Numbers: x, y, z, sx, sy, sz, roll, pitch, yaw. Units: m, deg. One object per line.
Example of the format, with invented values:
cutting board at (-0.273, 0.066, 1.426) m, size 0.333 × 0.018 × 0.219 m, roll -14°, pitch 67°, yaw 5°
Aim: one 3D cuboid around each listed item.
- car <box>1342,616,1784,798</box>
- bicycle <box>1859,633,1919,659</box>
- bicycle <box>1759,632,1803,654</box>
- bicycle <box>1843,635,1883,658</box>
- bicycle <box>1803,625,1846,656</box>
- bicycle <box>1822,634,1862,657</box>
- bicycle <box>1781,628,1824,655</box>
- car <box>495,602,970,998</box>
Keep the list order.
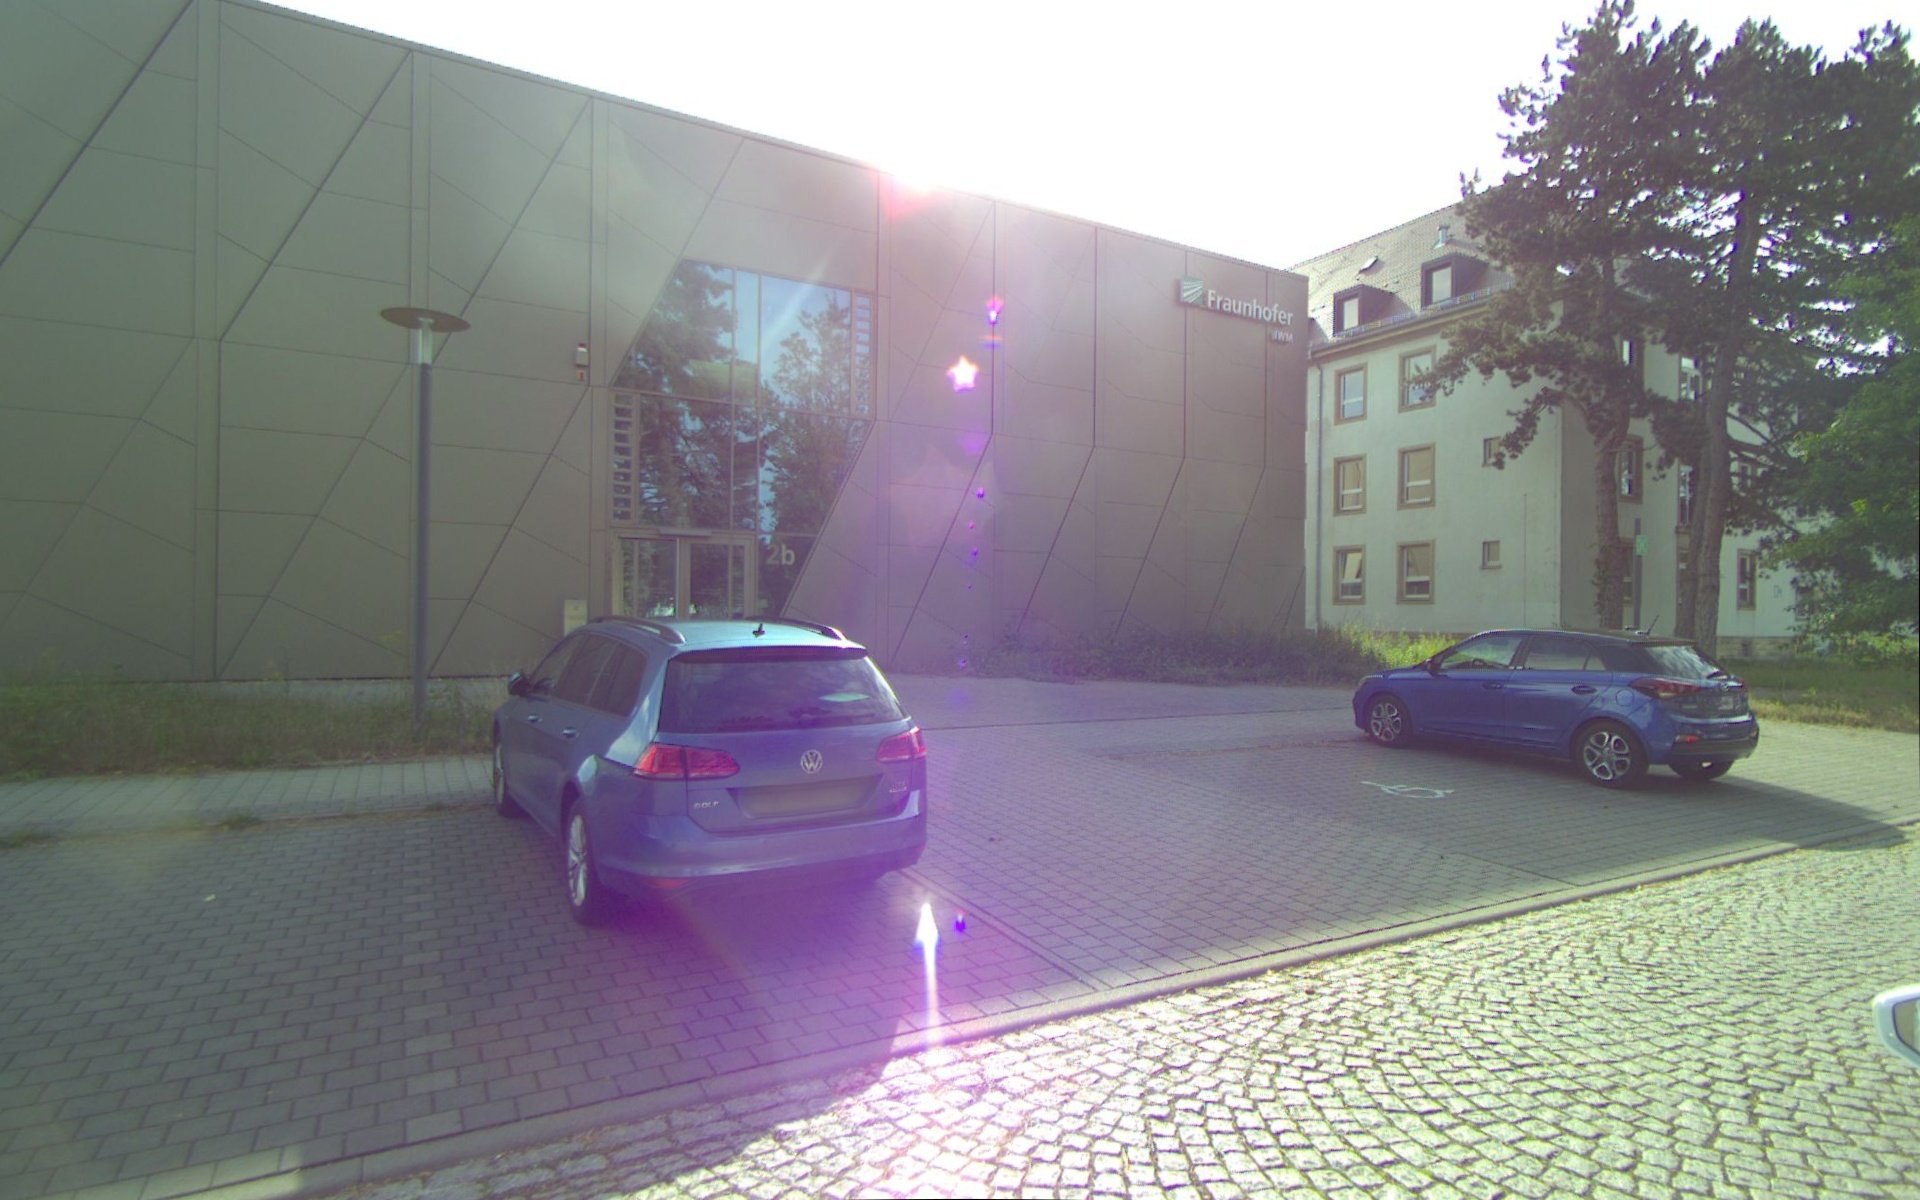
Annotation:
car at (6.333, 0.997, 11.018) m, size 1.698 × 1.483 × 3.820 m, roll 1°, pitch 1°, yaw -28°
bicycle at (42.210, 2.062, 45.466) m, size 0.819 × 1.123 × 2.105 m, roll 1°, pitch -1°, yaw -32°
bicycle at (41.022, 2.156, 50.199) m, size 2.523 × 1.061 × 0.896 m, roll 1°, pitch -1°, yaw -30°
bicycle at (42.580, 2.201, 47.359) m, size 2.099 × 1.061 × 0.822 m, roll 1°, pitch -1°, yaw -30°
bicycle at (42.084, 1.974, 48.885) m, size 2.523 × 1.456 × 0.822 m, roll 1°, pitch -1°, yaw -30°
bicycle at (42.168, 2.189, 48.022) m, size 2.099 × 1.061 × 0.822 m, roll 1°, pitch -1°, yaw -30°
bicycle at (41.455, 2.050, 49.411) m, size 2.523 × 1.298 × 0.822 m, roll 1°, pitch -1°, yaw -30°
car at (-1.749, 0.820, 6.315) m, size 1.662 × 1.484 × 4.233 m, roll -1°, pitch 2°, yaw -31°
